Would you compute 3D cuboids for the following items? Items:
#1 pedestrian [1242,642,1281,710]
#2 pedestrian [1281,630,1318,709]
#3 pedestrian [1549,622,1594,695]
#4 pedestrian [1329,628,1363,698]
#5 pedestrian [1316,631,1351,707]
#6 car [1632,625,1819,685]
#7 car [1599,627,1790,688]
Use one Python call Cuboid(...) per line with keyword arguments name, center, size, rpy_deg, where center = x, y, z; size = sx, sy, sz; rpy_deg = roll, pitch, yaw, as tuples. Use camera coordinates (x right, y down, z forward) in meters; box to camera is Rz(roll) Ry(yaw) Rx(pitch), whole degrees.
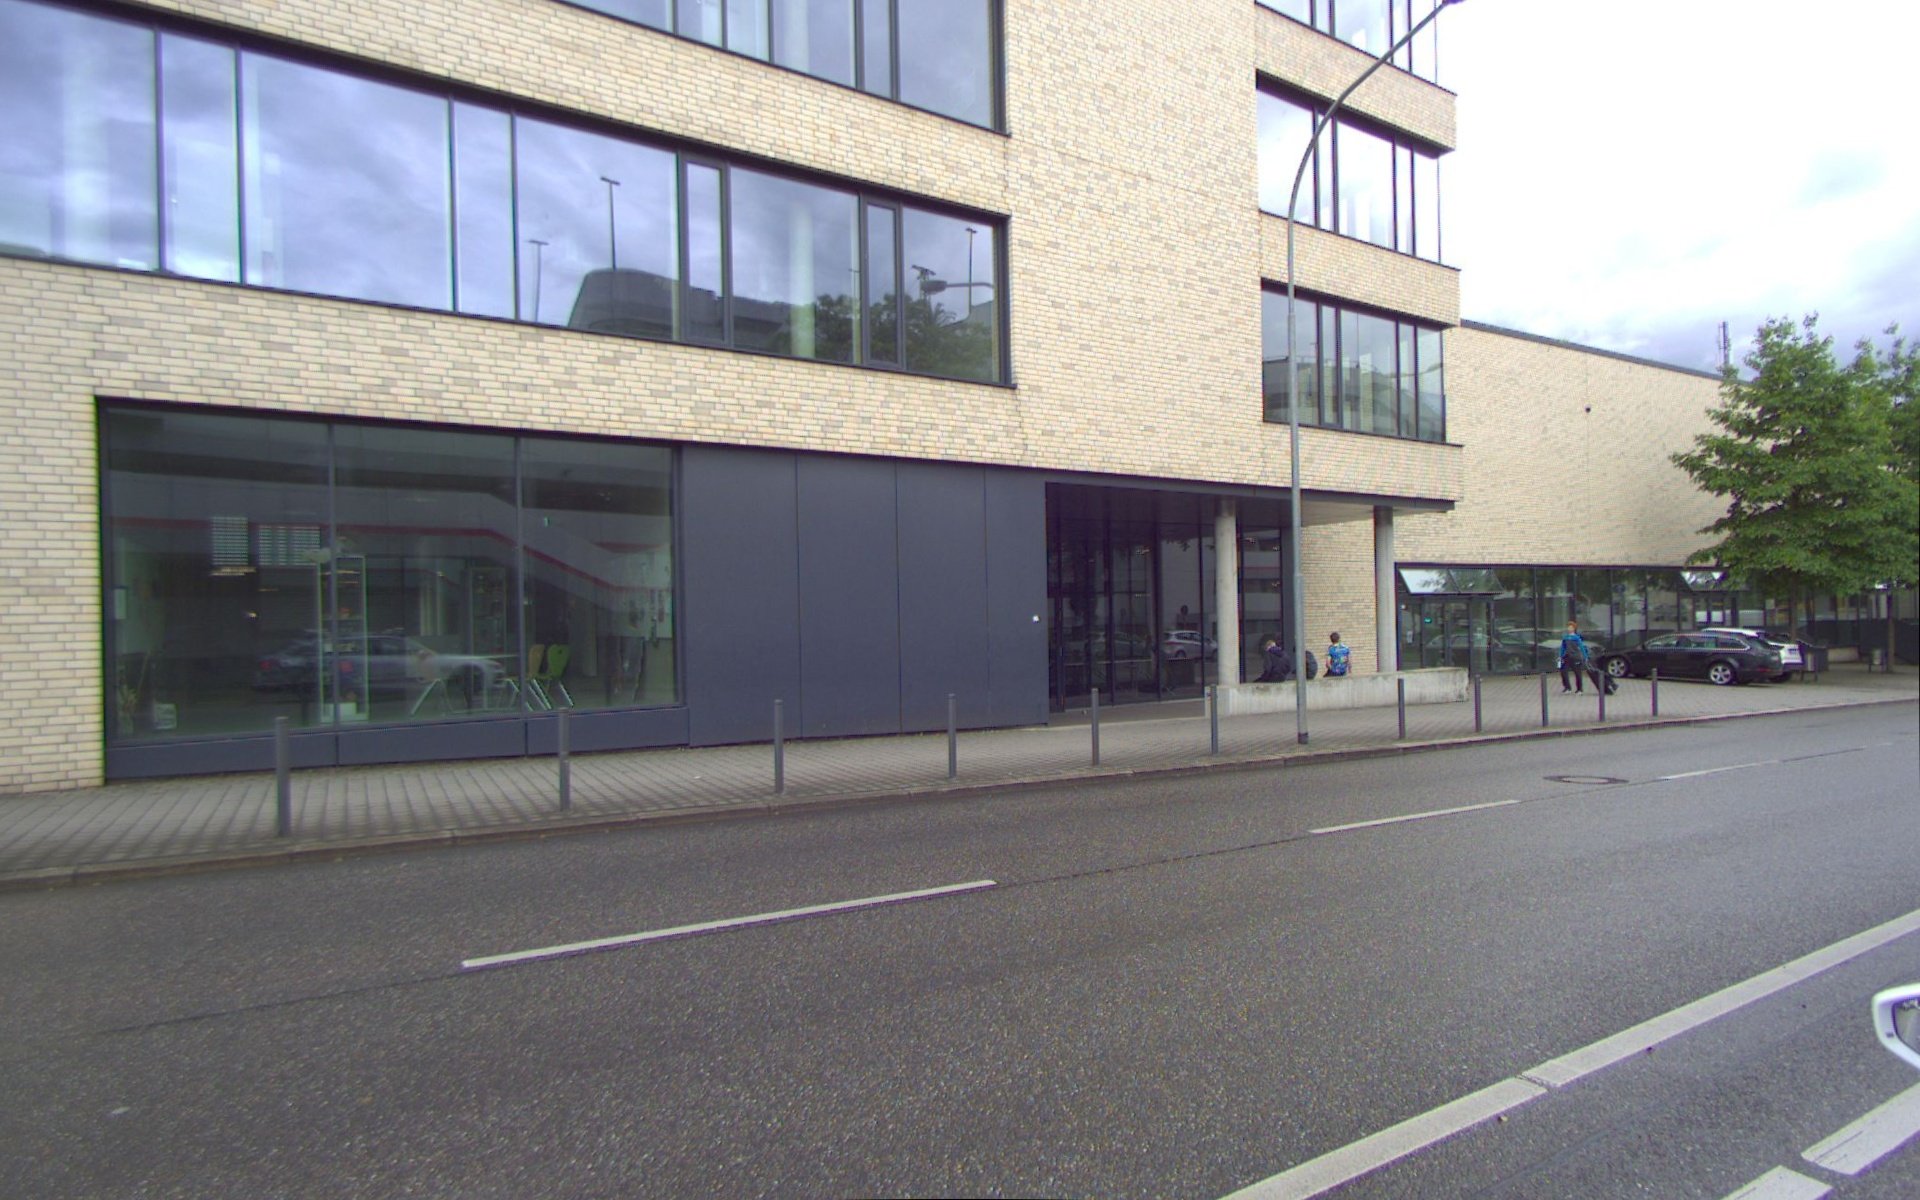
Cuboid(name="pedestrian", center=(5.704, 1.427, 19.014), size=(0.416, 1.231, 0.546), rpy_deg=(2, 0, -27))
Cuboid(name="pedestrian", center=(6.594, 1.345, 19.509), size=(0.459, 1.495, 0.446), rpy_deg=(2, 0, -35))
Cuboid(name="pedestrian", center=(14.983, 1.421, 24.605), size=(0.696, 1.737, 0.632), rpy_deg=(2, 0, -27))
Cuboid(name="pedestrian", center=(8.443, 1.366, 21.983), size=(0.523, 1.495, 0.438), rpy_deg=(2, 0, -35))
Cuboid(name="pedestrian", center=(7.525, 1.381, 20.248), size=(0.459, 1.495, 0.446), rpy_deg=(2, 0, -35))
Cuboid(name="car", center=(23.449, 1.638, 30.938), size=(1.975, 1.568, 4.159), rpy_deg=(2, 0, -28))
Cuboid(name="car", center=(21.572, 1.643, 29.630), size=(1.981, 1.515, 4.147), rpy_deg=(2, 0, -36))
